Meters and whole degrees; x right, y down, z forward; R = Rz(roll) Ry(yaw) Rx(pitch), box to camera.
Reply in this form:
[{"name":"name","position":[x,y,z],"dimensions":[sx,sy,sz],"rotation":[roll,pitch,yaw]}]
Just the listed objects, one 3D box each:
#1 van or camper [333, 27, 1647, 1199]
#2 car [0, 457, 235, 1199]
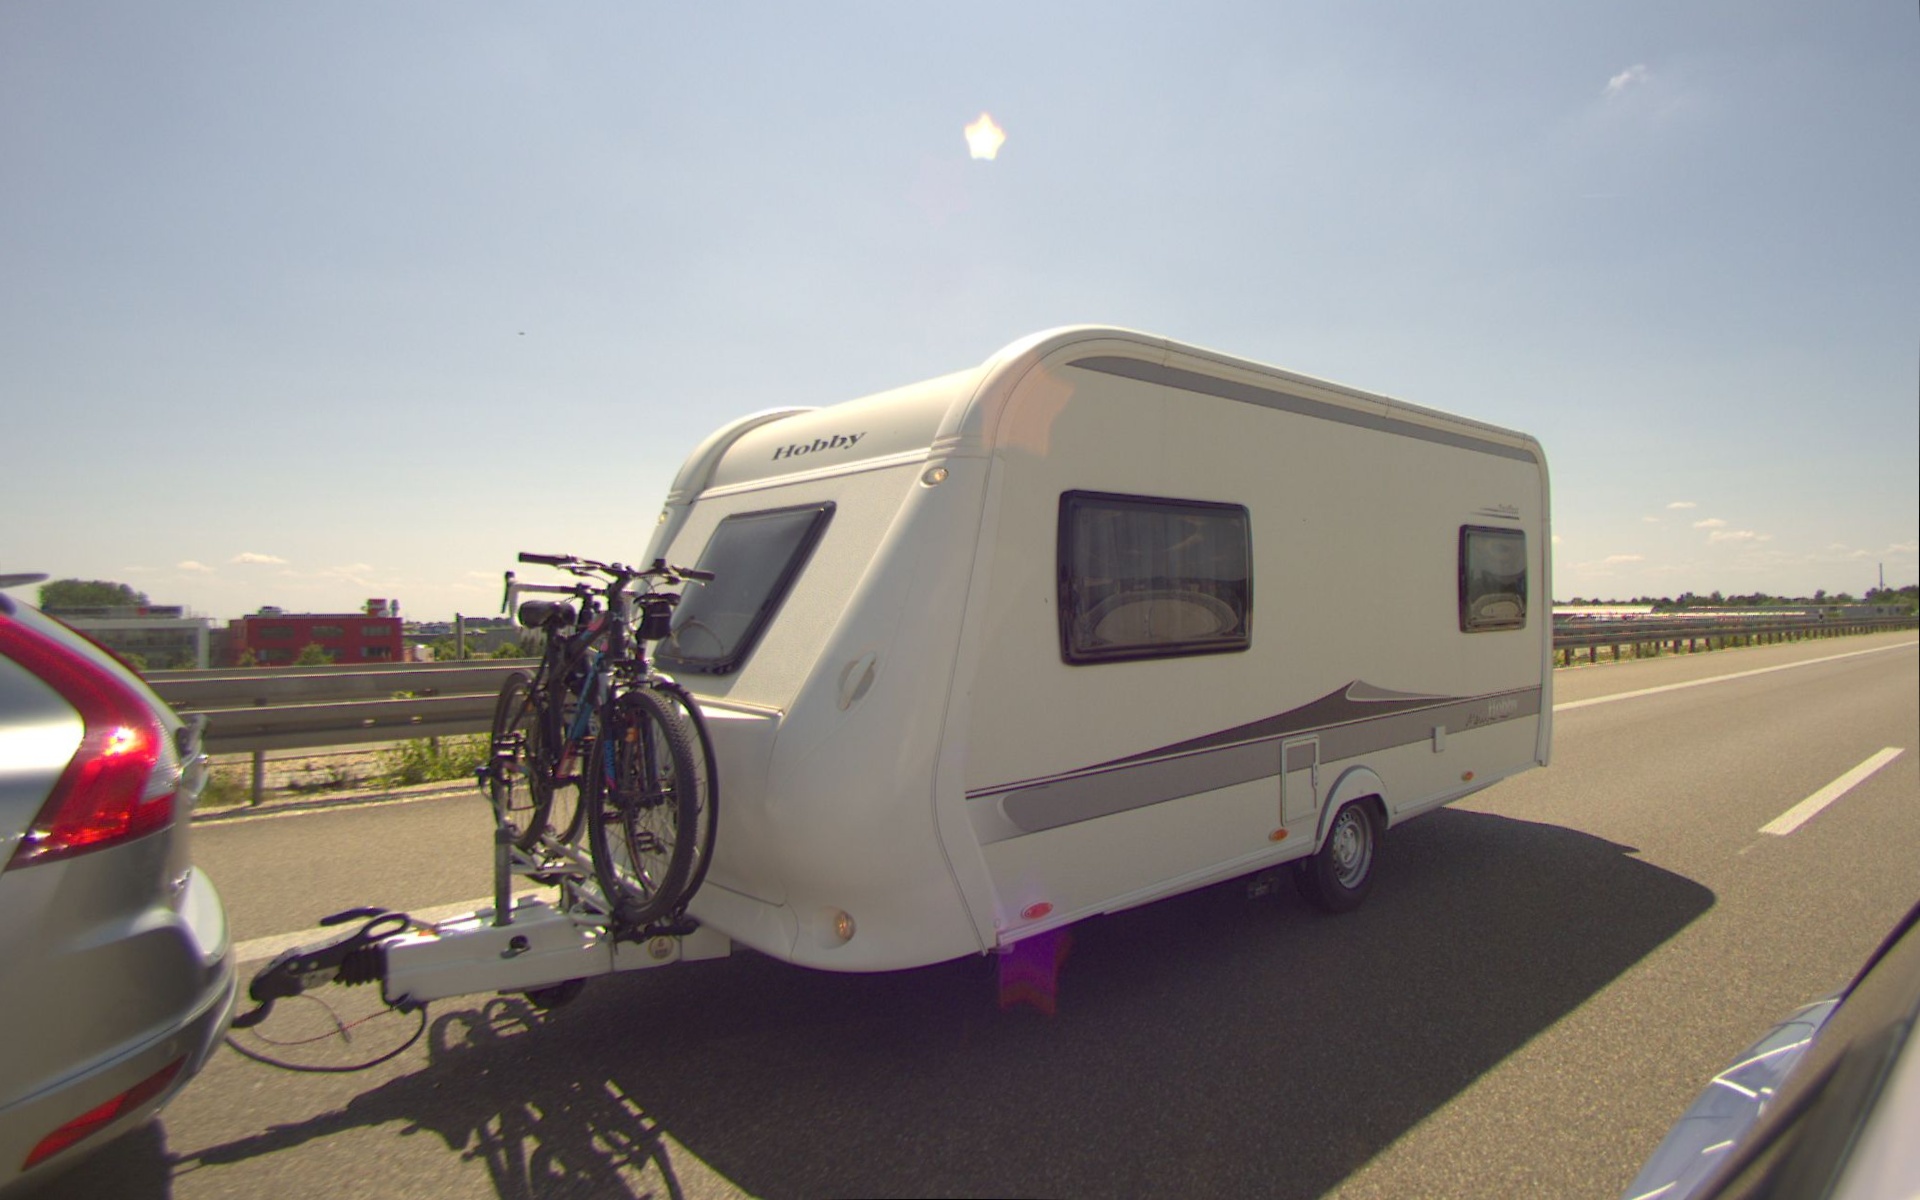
[{"name":"van or camper","position":[1.186,0.093,5.658],"dimensions":[7.680,2.626,2.516],"rotation":[1,0,-41]},{"name":"car","position":[-3.887,0.558,1.170],"dimensions":[4.818,1.643,1.884],"rotation":[0,0,-41]}]
